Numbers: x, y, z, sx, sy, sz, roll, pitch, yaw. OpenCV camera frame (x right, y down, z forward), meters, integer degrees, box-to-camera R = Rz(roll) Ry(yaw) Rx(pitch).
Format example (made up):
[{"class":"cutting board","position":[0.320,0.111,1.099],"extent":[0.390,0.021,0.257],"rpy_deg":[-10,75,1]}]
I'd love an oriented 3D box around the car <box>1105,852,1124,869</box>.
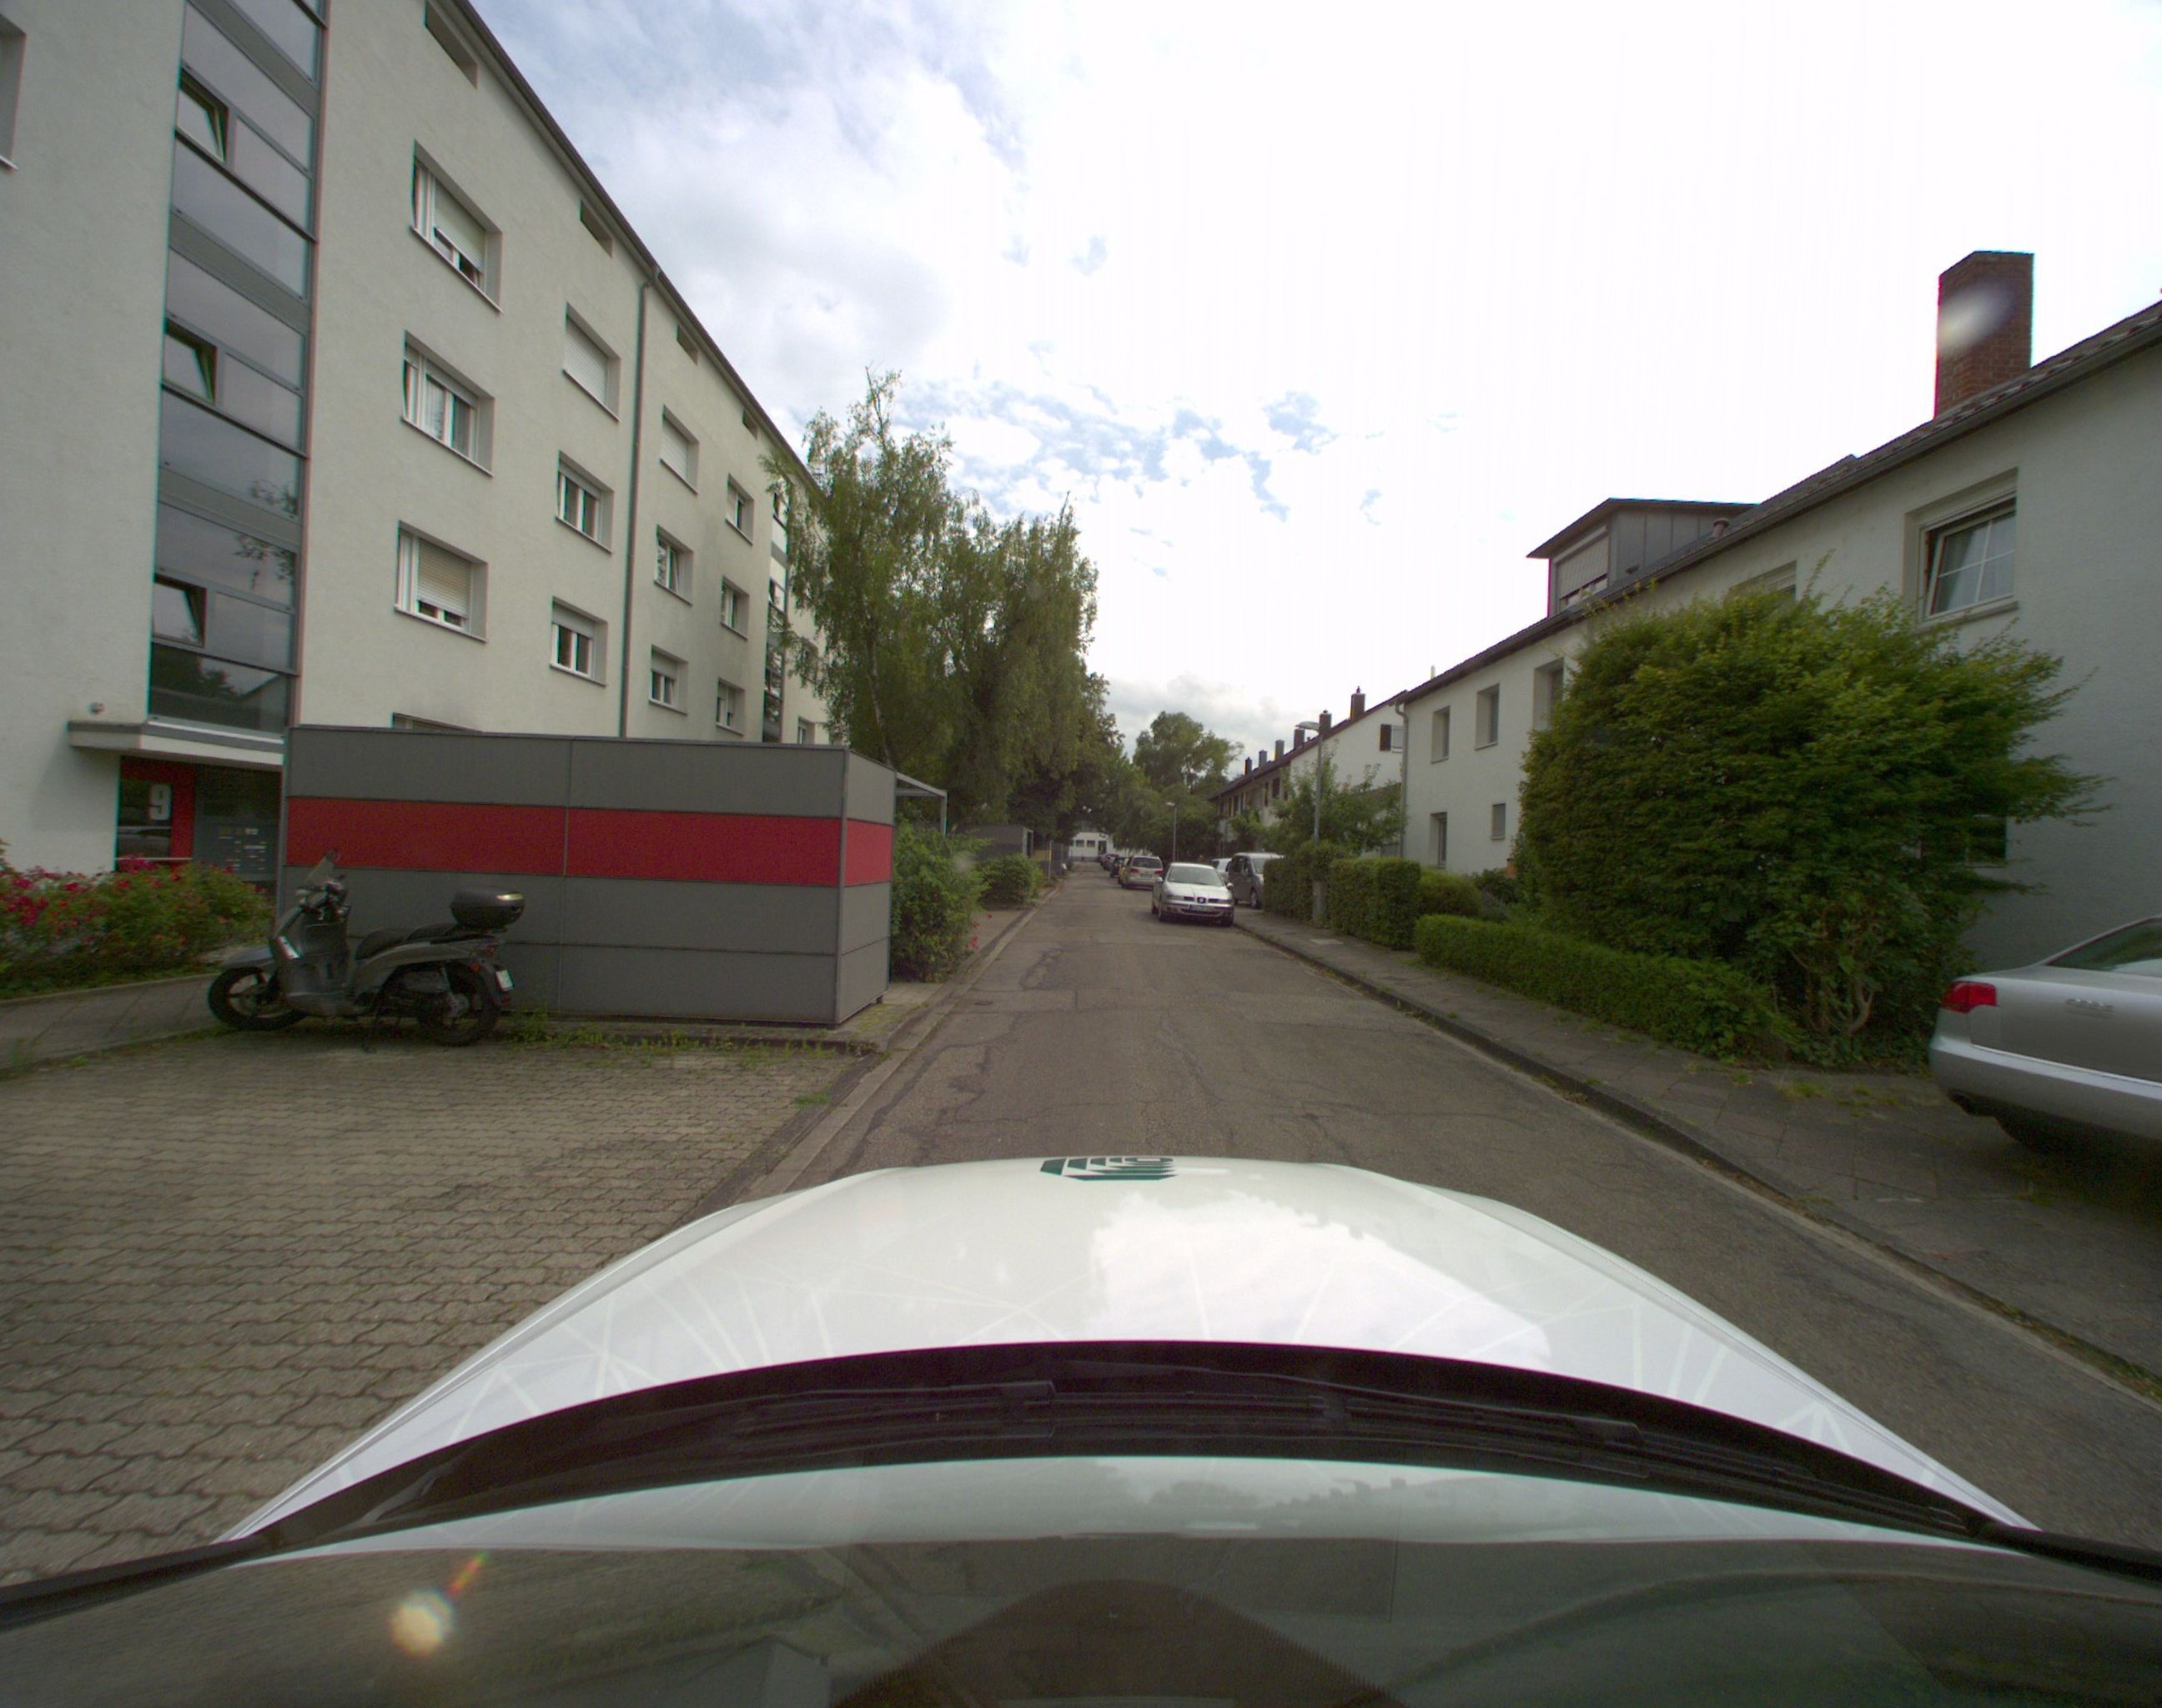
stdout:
[{"class":"car","position":[3.479,0.652,84.339],"extent":[1.818,1.581,4.001],"rpy_deg":[4,0,1]}]

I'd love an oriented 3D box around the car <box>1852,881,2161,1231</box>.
[{"class":"car","position":[6.527,0.877,3.987],"extent":[4.014,1.427,1.850],"rpy_deg":[0,0,-6]}]

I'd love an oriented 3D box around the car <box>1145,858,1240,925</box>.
[{"class":"car","position":[2.680,0.859,20.531],"extent":[1.818,1.370,4.331],"rpy_deg":[4,0,1]}]

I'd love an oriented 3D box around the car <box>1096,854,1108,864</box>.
[{"class":"car","position":[3.491,0.851,136.973],"extent":[1.818,1.581,4.001],"rpy_deg":[4,0,1]}]

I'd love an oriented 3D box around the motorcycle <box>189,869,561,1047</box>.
[{"class":"motorcycle","position":[-5.091,0.731,5.953],"extent":[2.134,1.136,0.635],"rpy_deg":[2,2,-1]}]

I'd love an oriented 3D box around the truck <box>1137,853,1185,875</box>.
[{"class":"truck","position":[7.589,0.949,77.537],"extent":[4.376,2.014,1.999],"rpy_deg":[0,0,-1]}]

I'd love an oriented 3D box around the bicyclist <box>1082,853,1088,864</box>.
[{"class":"bicyclist","position":[0.545,0.706,124.778],"extent":[0.795,1.511,0.934],"rpy_deg":[4,-1,2]}]

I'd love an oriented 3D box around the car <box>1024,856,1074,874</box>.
[{"class":"car","position":[-2.617,0.867,67.160],"extent":[4.018,1.394,1.737],"rpy_deg":[1,0,-1]}]

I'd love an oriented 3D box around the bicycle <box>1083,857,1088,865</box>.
[{"class":"bicycle","position":[0.693,1.058,124.574],"extent":[0.686,1.131,2.581],"rpy_deg":[4,0,3]}]

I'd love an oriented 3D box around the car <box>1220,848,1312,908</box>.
[{"class":"car","position":[5.991,0.752,26.860],"extent":[1.821,1.777,4.336],"rpy_deg":[-1,-1,-3]}]

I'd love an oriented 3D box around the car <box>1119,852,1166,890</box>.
[{"class":"car","position":[2.917,0.767,39.116],"extent":[1.820,1.581,3.998],"rpy_deg":[4,0,-1]}]

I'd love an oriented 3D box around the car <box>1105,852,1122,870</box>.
[{"class":"car","position":[3.757,0.814,96.096],"extent":[1.818,1.883,4.001],"rpy_deg":[4,0,1]}]

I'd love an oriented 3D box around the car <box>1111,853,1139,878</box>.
[{"class":"car","position":[3.179,0.810,59.310],"extent":[1.818,1.581,4.194],"rpy_deg":[4,0,1]}]

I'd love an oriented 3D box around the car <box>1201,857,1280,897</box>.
[{"class":"car","position":[6.395,0.908,32.845],"extent":[2.809,1.569,1.739],"rpy_deg":[0,0,-2]}]

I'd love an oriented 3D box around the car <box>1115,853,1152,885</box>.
[{"class":"car","position":[2.926,0.803,45.831],"extent":[1.818,1.581,4.001],"rpy_deg":[4,0,1]}]
